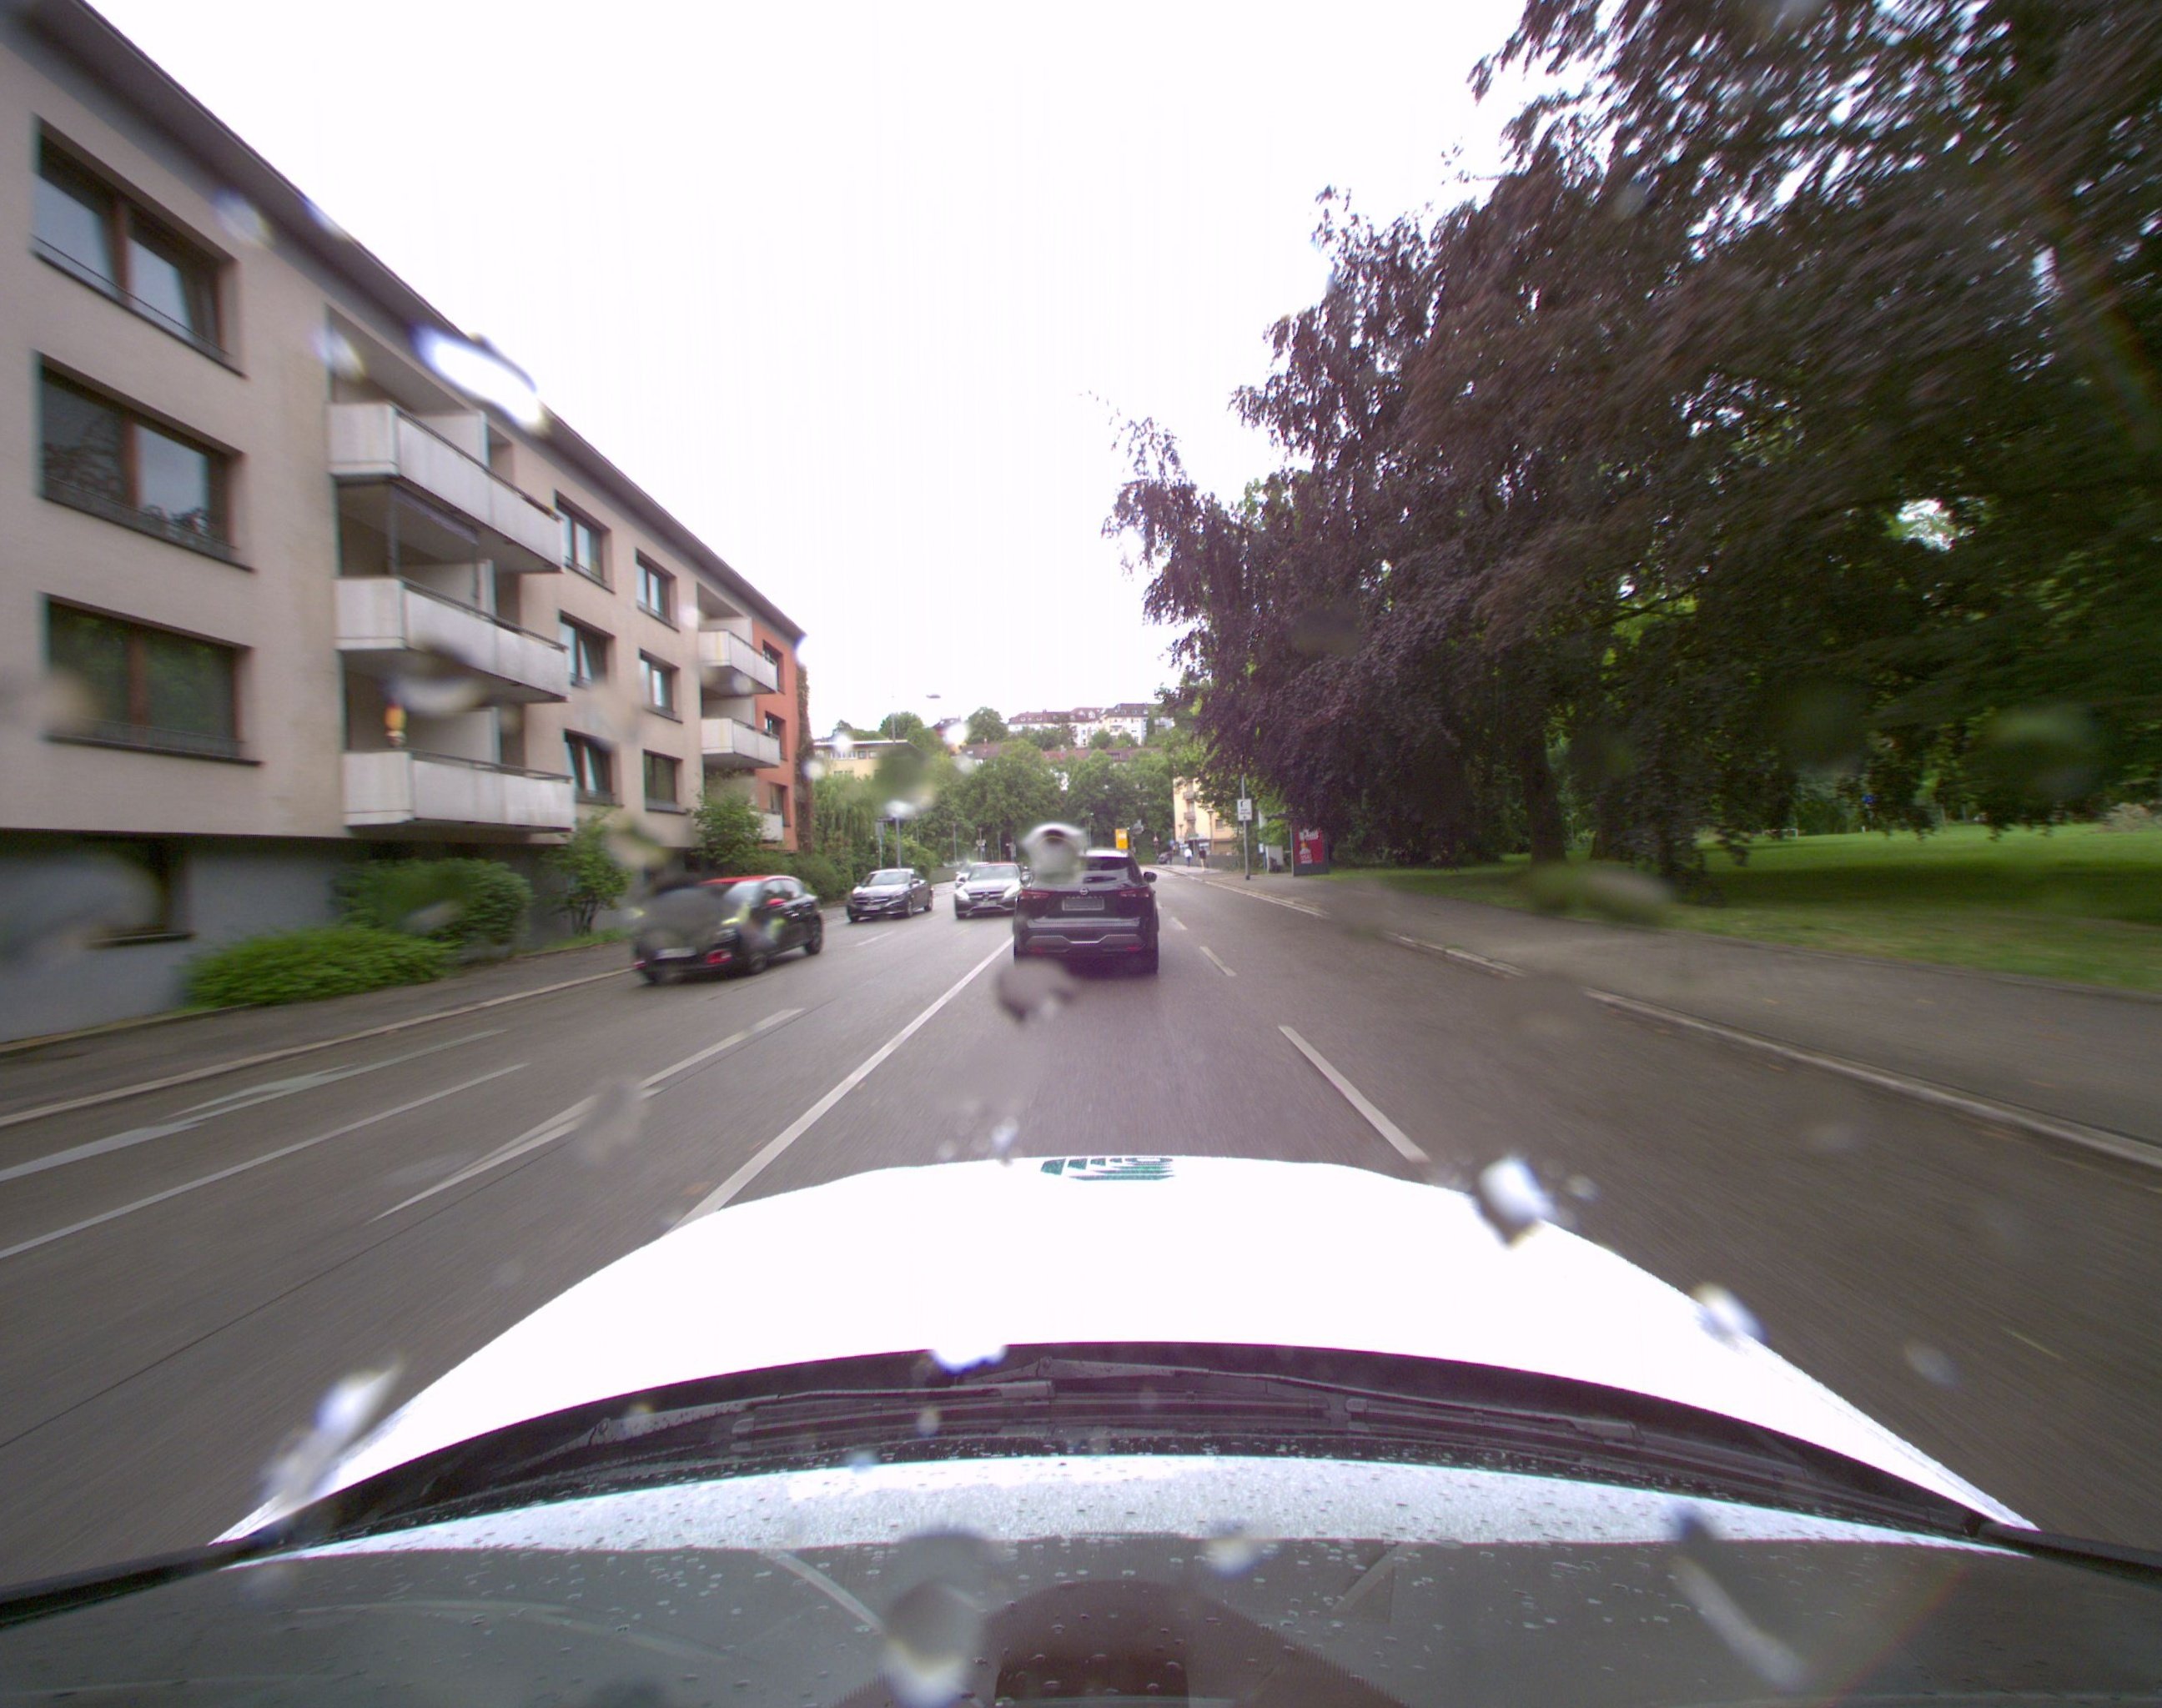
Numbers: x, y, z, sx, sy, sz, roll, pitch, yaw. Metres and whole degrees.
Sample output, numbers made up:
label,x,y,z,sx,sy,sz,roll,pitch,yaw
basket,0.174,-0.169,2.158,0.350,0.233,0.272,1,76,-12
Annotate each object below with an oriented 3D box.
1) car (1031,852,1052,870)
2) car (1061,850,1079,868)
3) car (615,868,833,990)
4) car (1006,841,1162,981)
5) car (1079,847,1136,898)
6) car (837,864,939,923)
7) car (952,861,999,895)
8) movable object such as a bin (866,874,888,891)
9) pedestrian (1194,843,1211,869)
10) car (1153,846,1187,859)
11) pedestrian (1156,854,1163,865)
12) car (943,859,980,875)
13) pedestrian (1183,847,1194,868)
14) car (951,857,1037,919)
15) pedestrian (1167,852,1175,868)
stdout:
label,x,y,z,sx,sy,sz,roll,pitch,yaw
car,-3.795,0.654,78.905,1.808,1.579,4.230,-4,0,-1
car,-1.521,0.715,115.445,2.281,2.308,6.511,-4,0,1
car,-5.603,1.083,13.370,1.680,1.491,3.891,-4,0,1
car,0.097,0.669,11.597,1.804,1.603,4.002,-2,0,2
car,0.905,0.579,28.256,1.804,1.603,4.002,-1,0,2
car,-5.746,1.116,24.872,1.806,1.415,4.684,-4,0,1
car,-5.177,1.145,40.369,1.809,1.415,4.045,-4,0,-2
movable object such as a bin,-11.458,1.577,45.755,0.962,0.877,0.833,-3,-1,1
pedestrian,8.145,0.123,54.489,0.844,1.676,1.168,-5,-1,1
car,12.880,-0.219,117.706,4.387,1.649,1.868,-4,-1,-24
pedestrian,11.243,0.775,117.051,0.859,1.619,0.840,-4,-1,2
car,-15.611,1.706,106.520,4.738,1.854,1.995,-3,1,-7
pedestrian,9.481,0.296,71.953,0.777,1.752,1.061,-3,-1,1
car,-2.358,0.893,23.149,1.787,1.415,4.337,-4,0,1
pedestrian,9.709,0.660,87.837,0.758,1.677,0.781,-5,0,2
